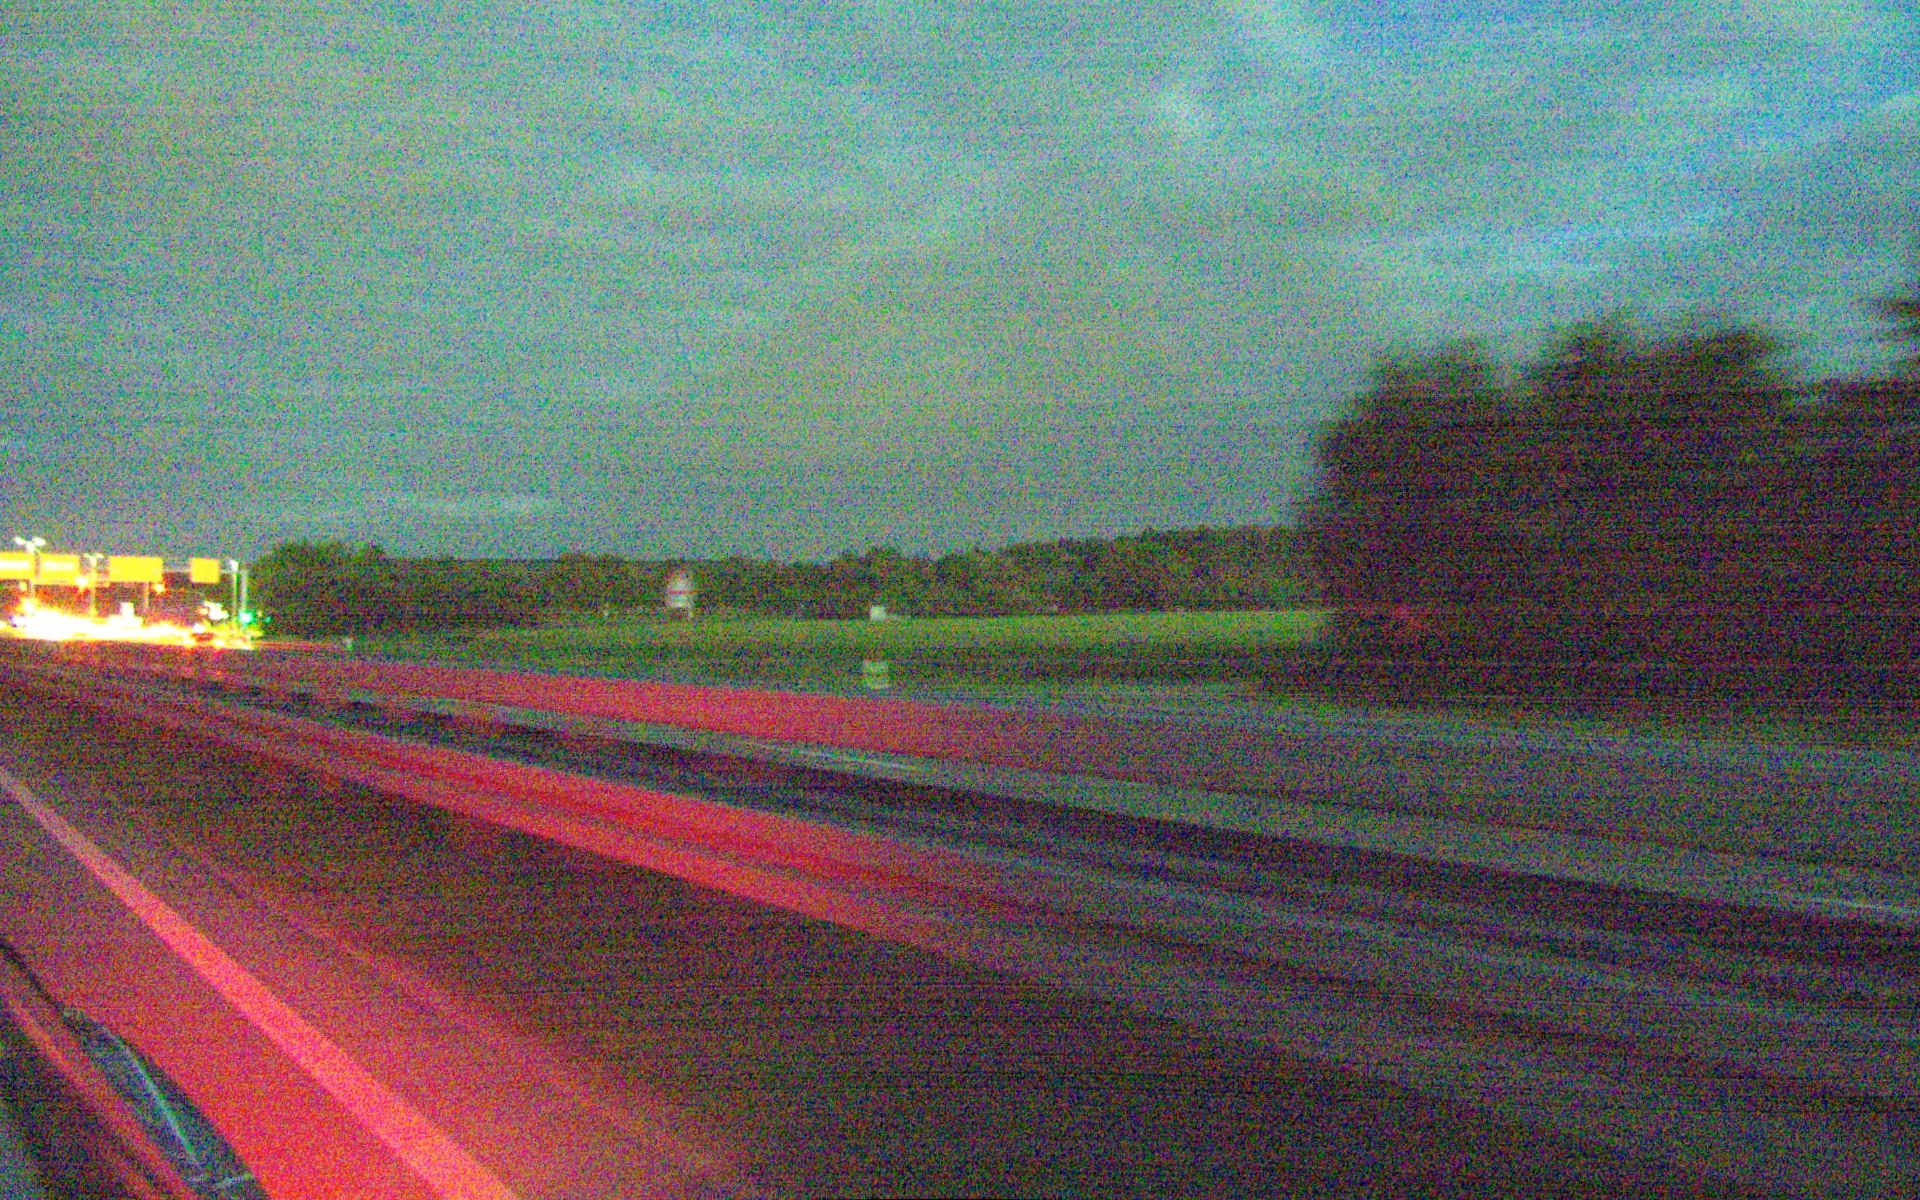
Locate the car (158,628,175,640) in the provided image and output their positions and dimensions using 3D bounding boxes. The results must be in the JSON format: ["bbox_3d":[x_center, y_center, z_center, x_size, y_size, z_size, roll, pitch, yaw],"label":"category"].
[{"bbox_3d":[-102.810,4.405,131.110,1.632,1.487,4.007,-1,0,-39],"label":"car"}]

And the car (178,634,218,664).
[{"bbox_3d":[-42.550,2.692,56.476,1.698,1.458,4.391,-1,0,-38],"label":"car"}]
